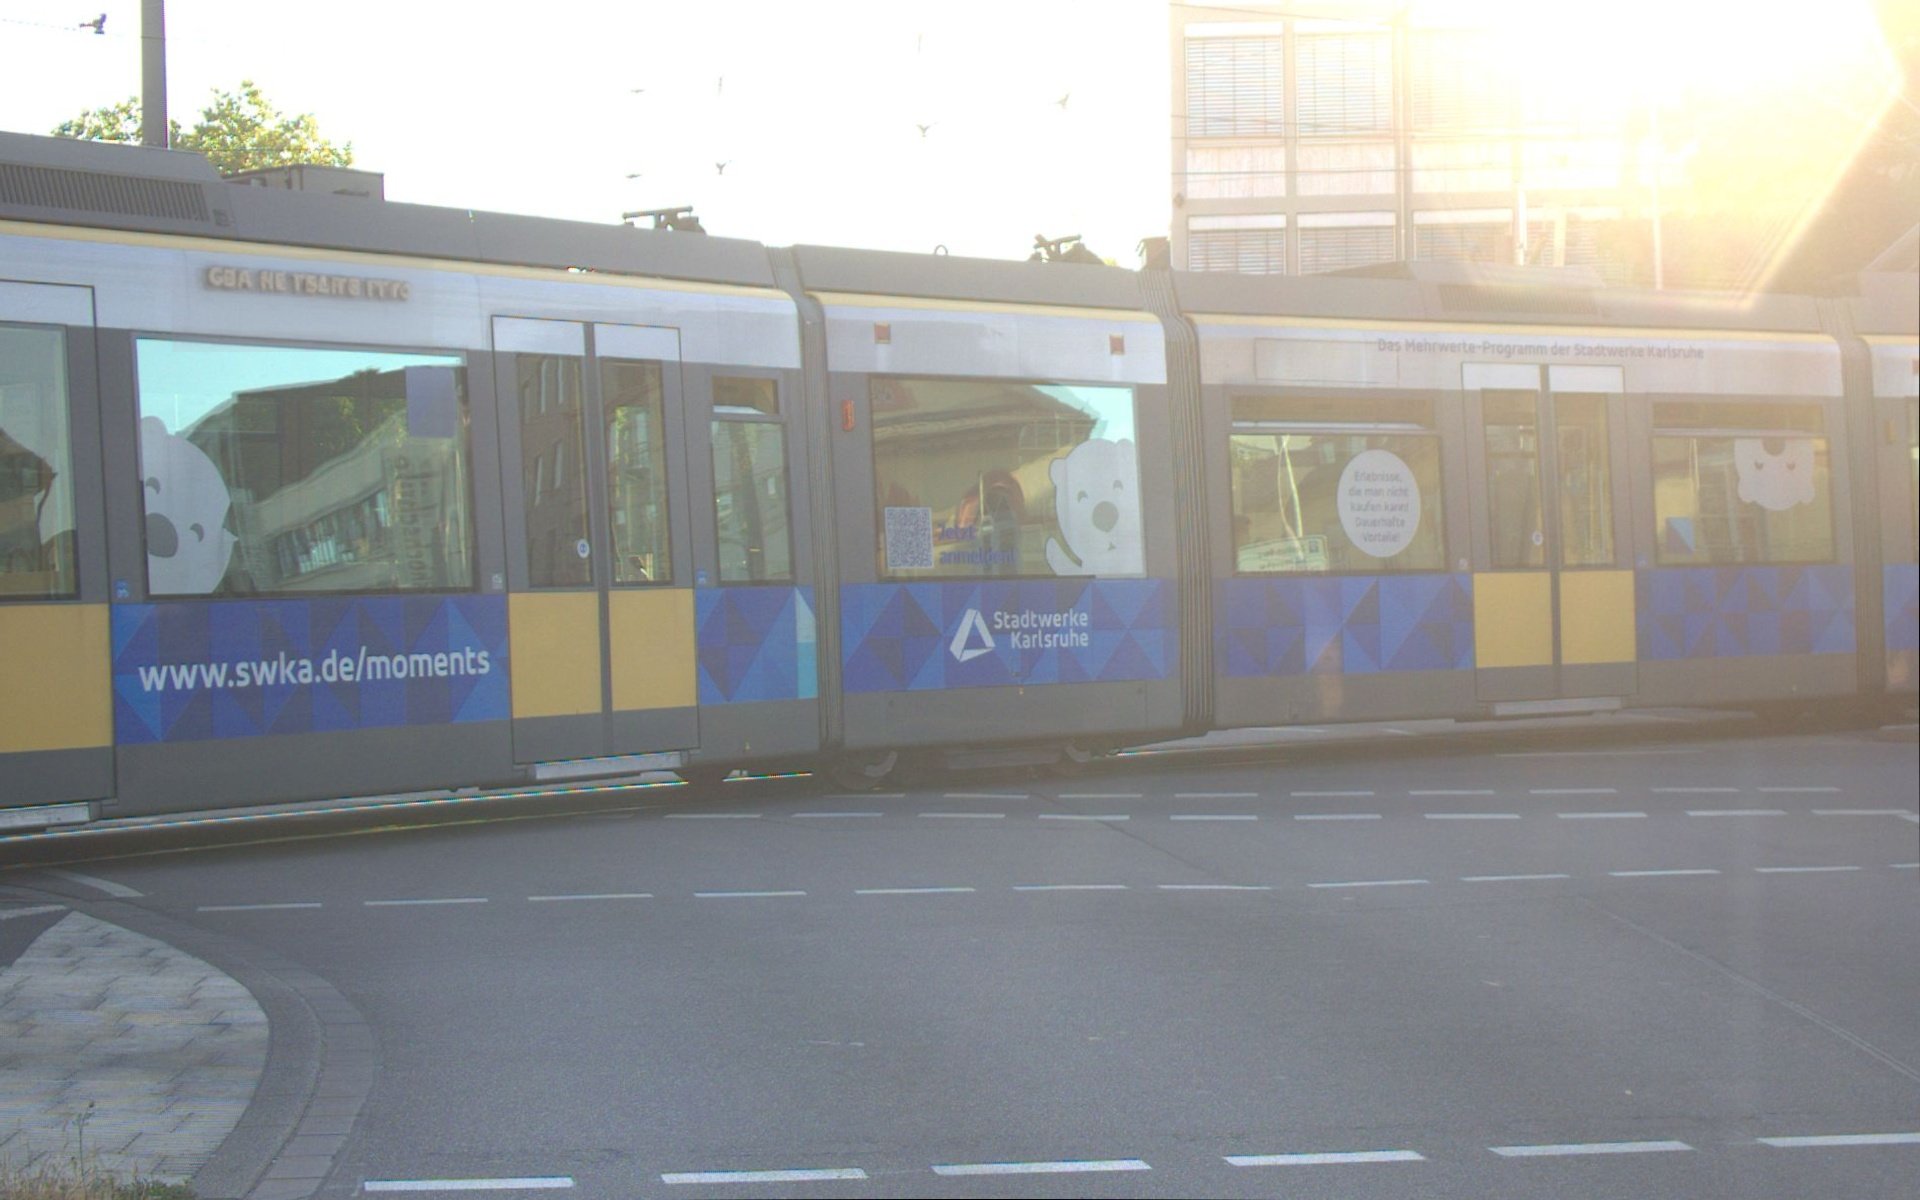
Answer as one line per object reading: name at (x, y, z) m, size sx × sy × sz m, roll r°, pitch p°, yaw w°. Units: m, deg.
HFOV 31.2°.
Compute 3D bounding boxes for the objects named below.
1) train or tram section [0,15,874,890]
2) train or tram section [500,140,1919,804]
train or tram section at (-5.875, -0.633, 15.842) m, size 3.711 × 3.820 × 13.333 m, roll 0°, pitch 1°, yaw 35°
train or tram section at (3.342, -0.938, 25.009) m, size 12.939 × 3.820 × 3.715 m, roll -2°, pitch 2°, yaw -35°
